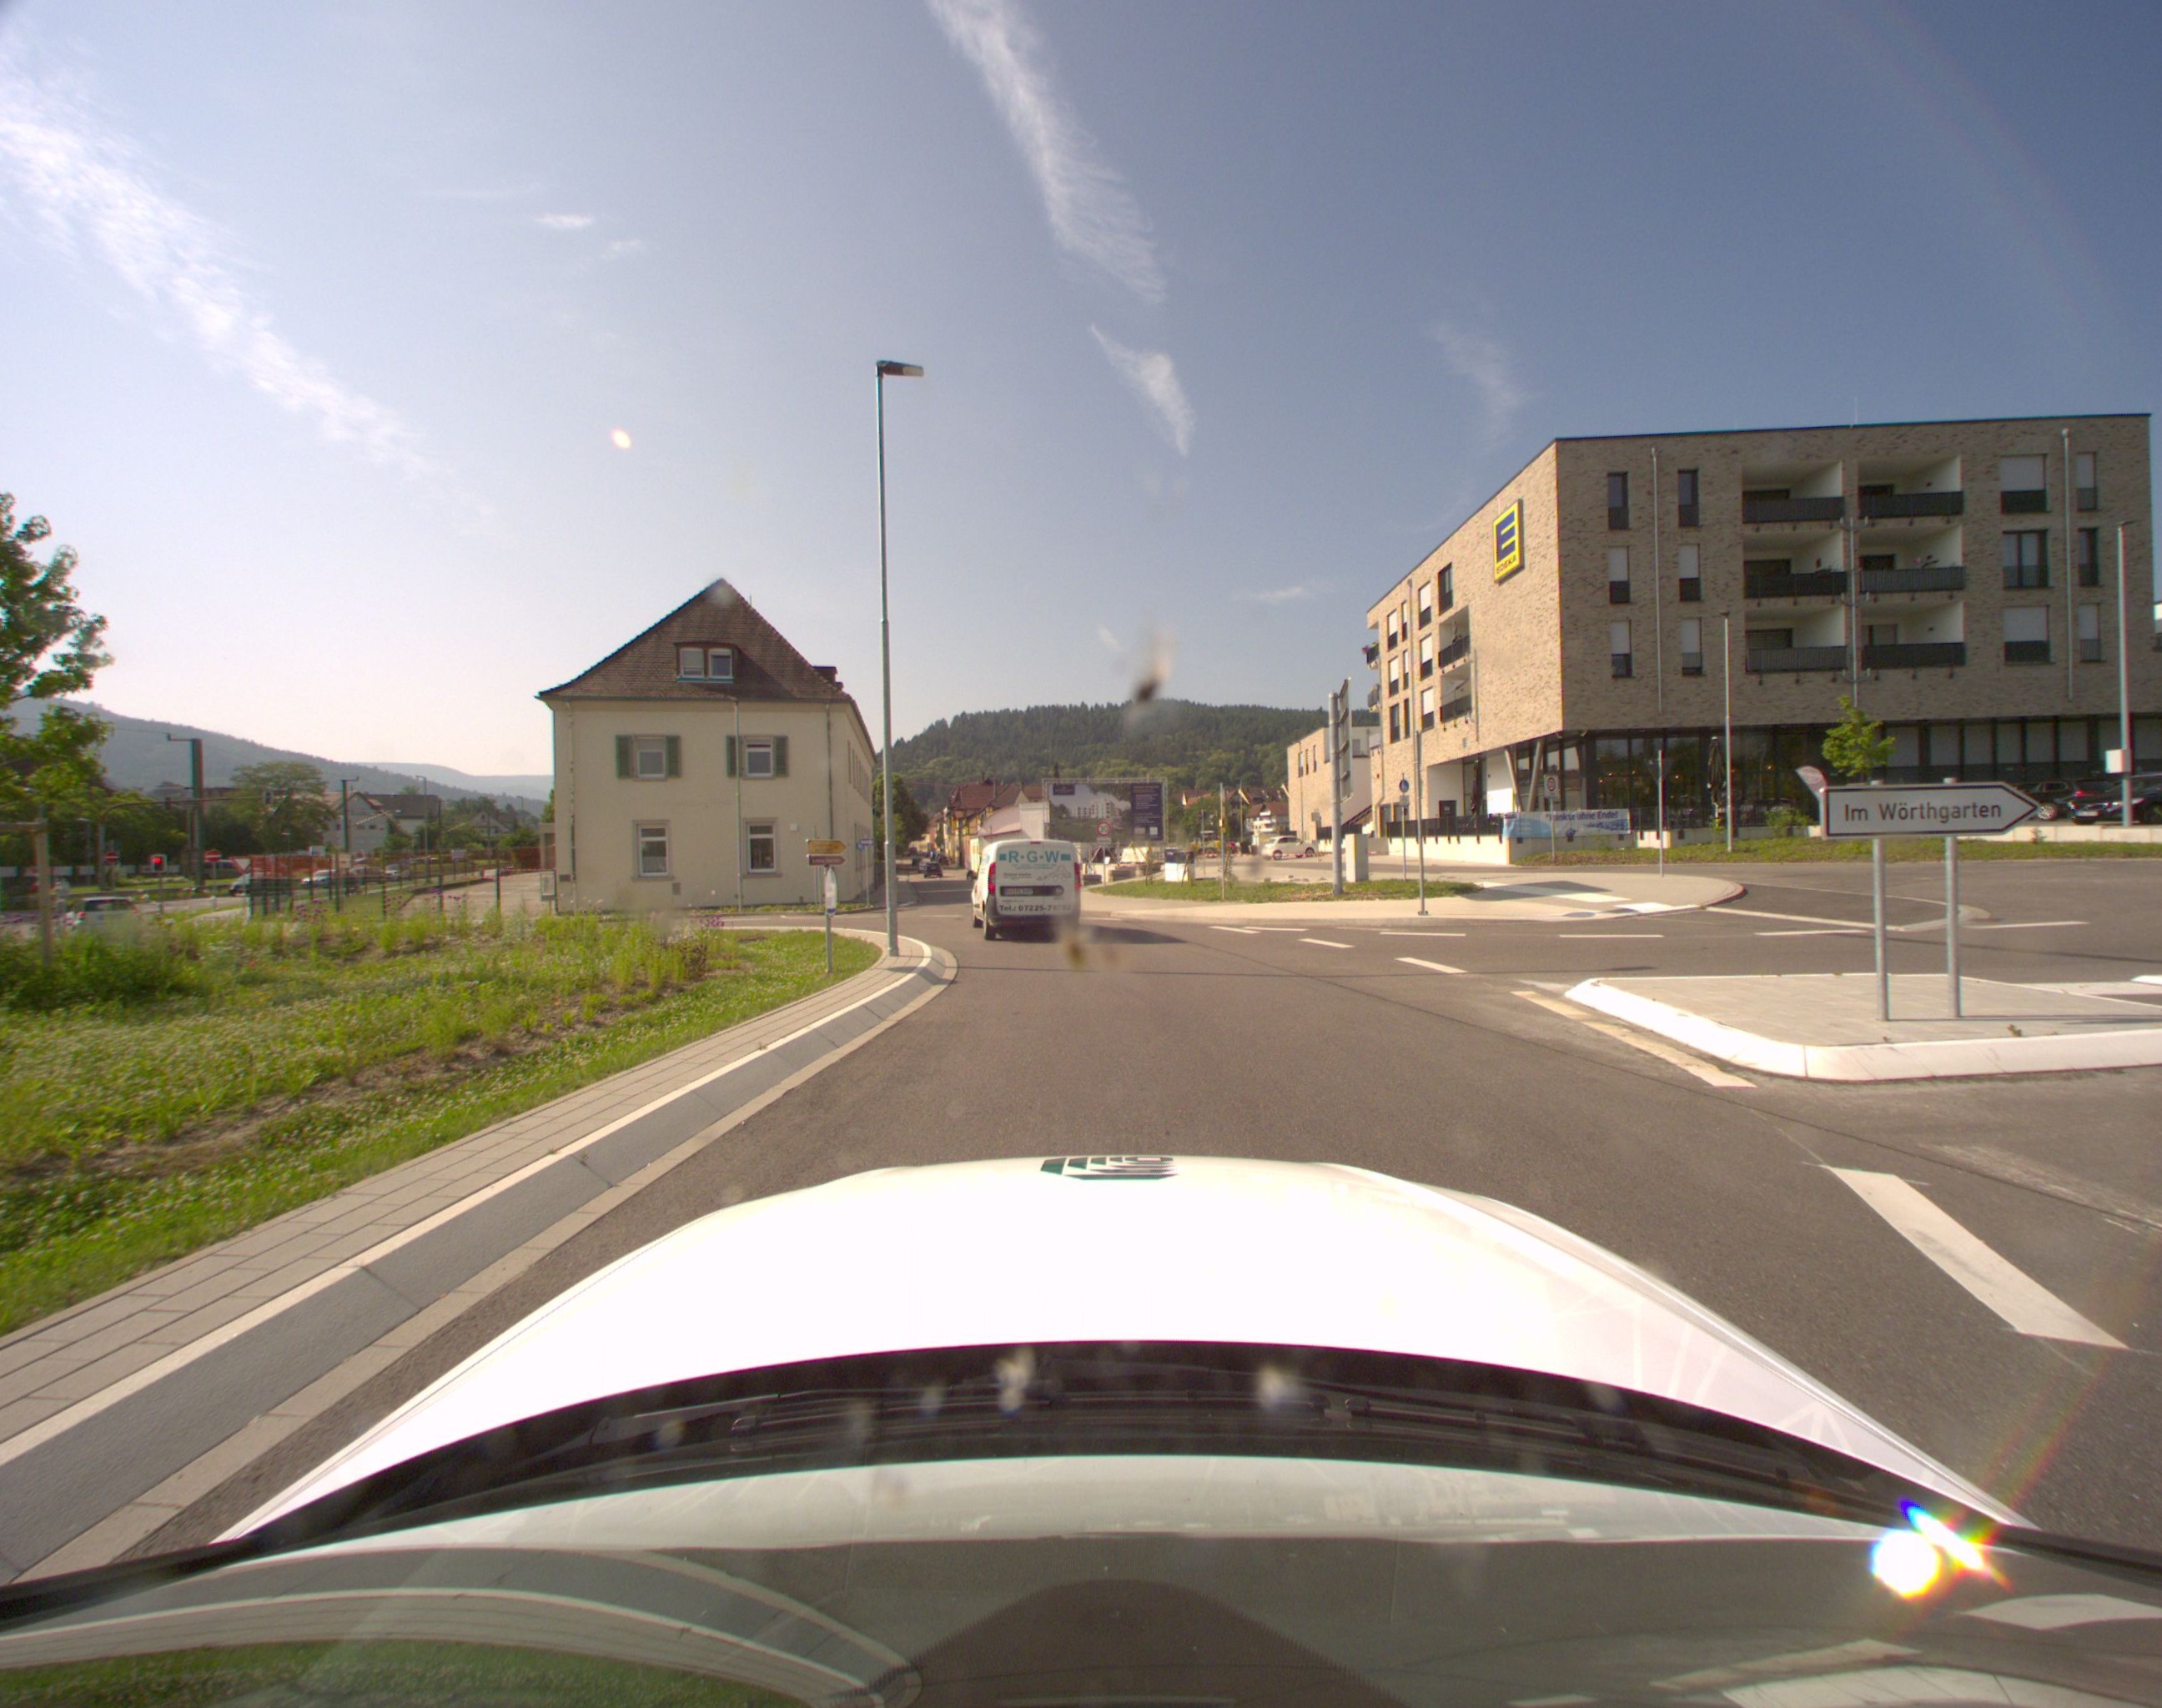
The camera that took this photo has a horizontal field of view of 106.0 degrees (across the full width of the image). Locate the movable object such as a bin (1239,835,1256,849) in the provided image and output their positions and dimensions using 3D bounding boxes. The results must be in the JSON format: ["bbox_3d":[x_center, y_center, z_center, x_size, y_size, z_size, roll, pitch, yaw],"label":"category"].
[{"bbox_3d":[15.882,-1.139,77.760,1.293,1.268,1.319,1,1,-2],"label":"movable object such as a bin"}]

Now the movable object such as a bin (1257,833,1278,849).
[{"bbox_3d":[17.280,-1.192,75.471,1.576,1.464,1.319,1,1,-2],"label":"movable object such as a bin"}]

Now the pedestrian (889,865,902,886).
[{"bbox_3d":[-14.946,1.729,65.579,0.959,1.631,0.755,-1,-1,-13],"label":"pedestrian"}]

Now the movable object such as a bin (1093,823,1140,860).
[{"bbox_3d":[3.612,-1.257,81.578,2.825,3.621,5.767,1,1,22],"label":"movable object such as a bin"}]

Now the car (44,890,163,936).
[{"bbox_3d":[-36.612,2.165,30.513,3.952,1.397,1.724,1,1,22],"label":"car"}]

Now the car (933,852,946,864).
[{"bbox_3d":[-24.707,0.600,142.089,1.873,2.013,3.983,-1,1,-13],"label":"car"}]

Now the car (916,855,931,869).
[{"bbox_3d":[-19.232,0.962,99.598,1.811,1.596,3.913,1,1,-10],"label":"car"}]

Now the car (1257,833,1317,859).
[{"bbox_3d":[13.474,-0.510,53.203,3.409,1.495,1.587,-3,-1,-13],"label":"car"}]

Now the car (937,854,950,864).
[{"bbox_3d":[-22.361,0.801,132.395,1.812,1.596,3.911,1,1,-12],"label":"car"}]

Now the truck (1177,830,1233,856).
[{"bbox_3d":[12.384,-1.109,81.194,5.277,2.265,2.227,-3,0,13],"label":"truck"}]

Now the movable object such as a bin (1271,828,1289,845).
[{"bbox_3d":[17.640,-1.543,72.204,1.296,1.464,1.319,1,1,-2],"label":"movable object such as a bin"}]

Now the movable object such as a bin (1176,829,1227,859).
[{"bbox_3d":[11.573,-0.973,77.982,4.580,2.569,1.932,-3,0,13],"label":"movable object such as a bin"}]

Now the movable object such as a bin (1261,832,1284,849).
[{"bbox_3d":[17.350,-1.213,73.724,1.689,1.464,1.319,1,1,-2],"label":"movable object such as a bin"}]

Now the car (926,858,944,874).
[{"bbox_3d":[-15.302,1.246,85.186,1.811,1.596,3.913,1,1,-10],"label":"car"}]

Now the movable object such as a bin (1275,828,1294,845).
[{"bbox_3d":[17.696,-1.520,70.819,1.296,1.464,1.319,1,1,-2],"label":"movable object such as a bin"}]

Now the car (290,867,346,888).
[{"bbox_3d":[-58.322,1.763,62.315,1.715,1.397,3.973,1,1,-21],"label":"car"}]

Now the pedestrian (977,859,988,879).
[{"bbox_3d":[-8.286,1.288,68.541,0.889,1.683,0.715,0,-1,-13],"label":"pedestrian"}]

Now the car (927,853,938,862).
[{"bbox_3d":[-28.820,0.651,158.025,1.672,1.508,3.981,-2,1,-14],"label":"car"}]

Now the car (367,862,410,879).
[{"bbox_3d":[-62.843,1.515,73.947,1.715,1.397,3.973,1,1,-21],"label":"car"}]

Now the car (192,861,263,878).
[{"bbox_3d":[-76.012,1.348,72.605,4.008,1.397,1.700,0,1,-26],"label":"car"}]

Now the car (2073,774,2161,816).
[{"bbox_3d":[38.900,-2.139,29.720,1.479,1.350,3.337,1,1,4],"label":"car"}]

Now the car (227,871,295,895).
[{"bbox_3d":[-55.262,1.922,54.978,1.715,1.397,3.973,1,1,-21],"label":"car"}]

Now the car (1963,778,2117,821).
[{"bbox_3d":[33.948,-1.892,28.969,1.483,1.350,3.329,1,1,-3],"label":"car"}]

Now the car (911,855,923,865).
[{"bbox_3d":[-26.855,0.946,133.298,1.811,1.596,3.913,1,1,-10],"label":"car"}]

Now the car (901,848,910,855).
[{"bbox_3d":[-45.310,-0.620,210.293,1.815,1.596,3.904,1,1,-17],"label":"car"}]

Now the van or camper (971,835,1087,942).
[{"bbox_3d":[-1.187,0.615,16.528,1.829,1.844,4.173,-1,0,-11],"label":"van or camper"}]

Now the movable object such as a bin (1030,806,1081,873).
[{"bbox_3d":[-1.703,-0.802,51.110,2.294,3.854,7.776,1,0,-8],"label":"movable object such as a bin"}]

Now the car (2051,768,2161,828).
[{"bbox_3d":[31.223,-1.674,23.431,4.431,1.555,1.859,-4,3,0],"label":"car"}]
